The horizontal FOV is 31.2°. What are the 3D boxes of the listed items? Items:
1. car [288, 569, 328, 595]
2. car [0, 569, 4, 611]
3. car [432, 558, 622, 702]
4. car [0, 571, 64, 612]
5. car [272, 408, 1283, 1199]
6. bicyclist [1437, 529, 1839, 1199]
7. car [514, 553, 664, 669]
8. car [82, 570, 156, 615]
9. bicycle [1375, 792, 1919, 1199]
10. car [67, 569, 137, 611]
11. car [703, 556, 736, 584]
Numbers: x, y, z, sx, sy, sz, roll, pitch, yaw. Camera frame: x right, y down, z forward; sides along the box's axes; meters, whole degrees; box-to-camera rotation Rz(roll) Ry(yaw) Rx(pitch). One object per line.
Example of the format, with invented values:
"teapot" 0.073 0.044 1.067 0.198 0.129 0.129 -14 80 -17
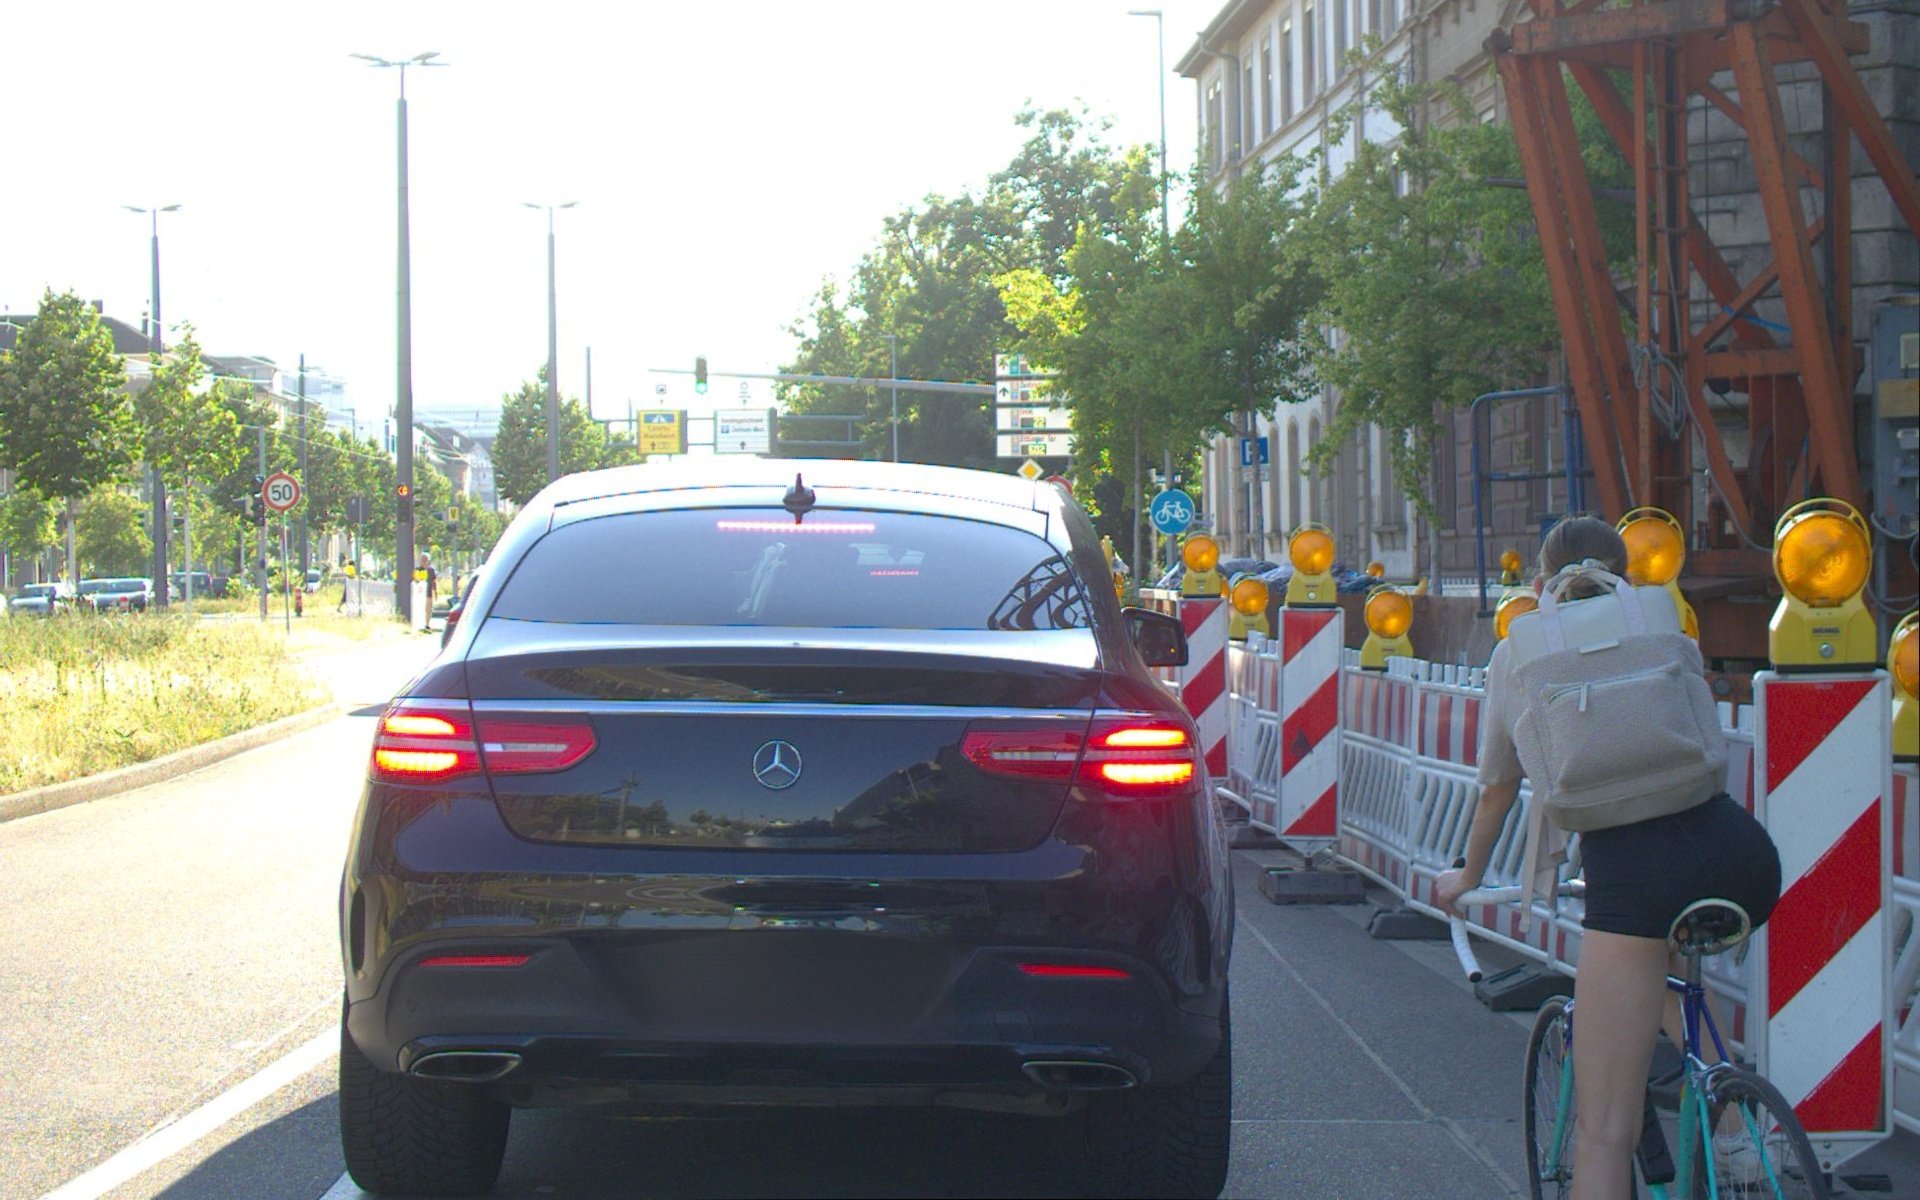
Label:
"car" -36.016 -0.995 189.976 1.708 1.437 3.583 1 1 -3
"car" -33.367 -0.344 115.366 1.708 1.437 3.583 1 1 -3
"car" -4.548 0.283 36.515 1.708 1.437 3.583 1 1 -3
"car" -33.775 -0.311 124.760 1.708 1.437 3.583 1 1 -3
"car" -0.387 0.494 8.850 1.993 1.766 4.000 1 1 -1
"bicyclist" 1.146 0.579 5.908 0.522 1.391 0.615 1 0 -3
"car" -4.809 0.119 44.942 1.708 1.437 3.583 1 1 -3
"car" -28.077 -0.266 114.847 1.708 1.437 3.583 1 1 -3
"bicycle" 1.139 0.921 6.028 0.512 1.048 1.725 1 1 -3
"car" -30.543 -0.376 122.438 1.708 1.437 3.583 1 1 -3
"car" -12.852 -1.593 183.840 1.708 1.437 3.583 1 1 -3
